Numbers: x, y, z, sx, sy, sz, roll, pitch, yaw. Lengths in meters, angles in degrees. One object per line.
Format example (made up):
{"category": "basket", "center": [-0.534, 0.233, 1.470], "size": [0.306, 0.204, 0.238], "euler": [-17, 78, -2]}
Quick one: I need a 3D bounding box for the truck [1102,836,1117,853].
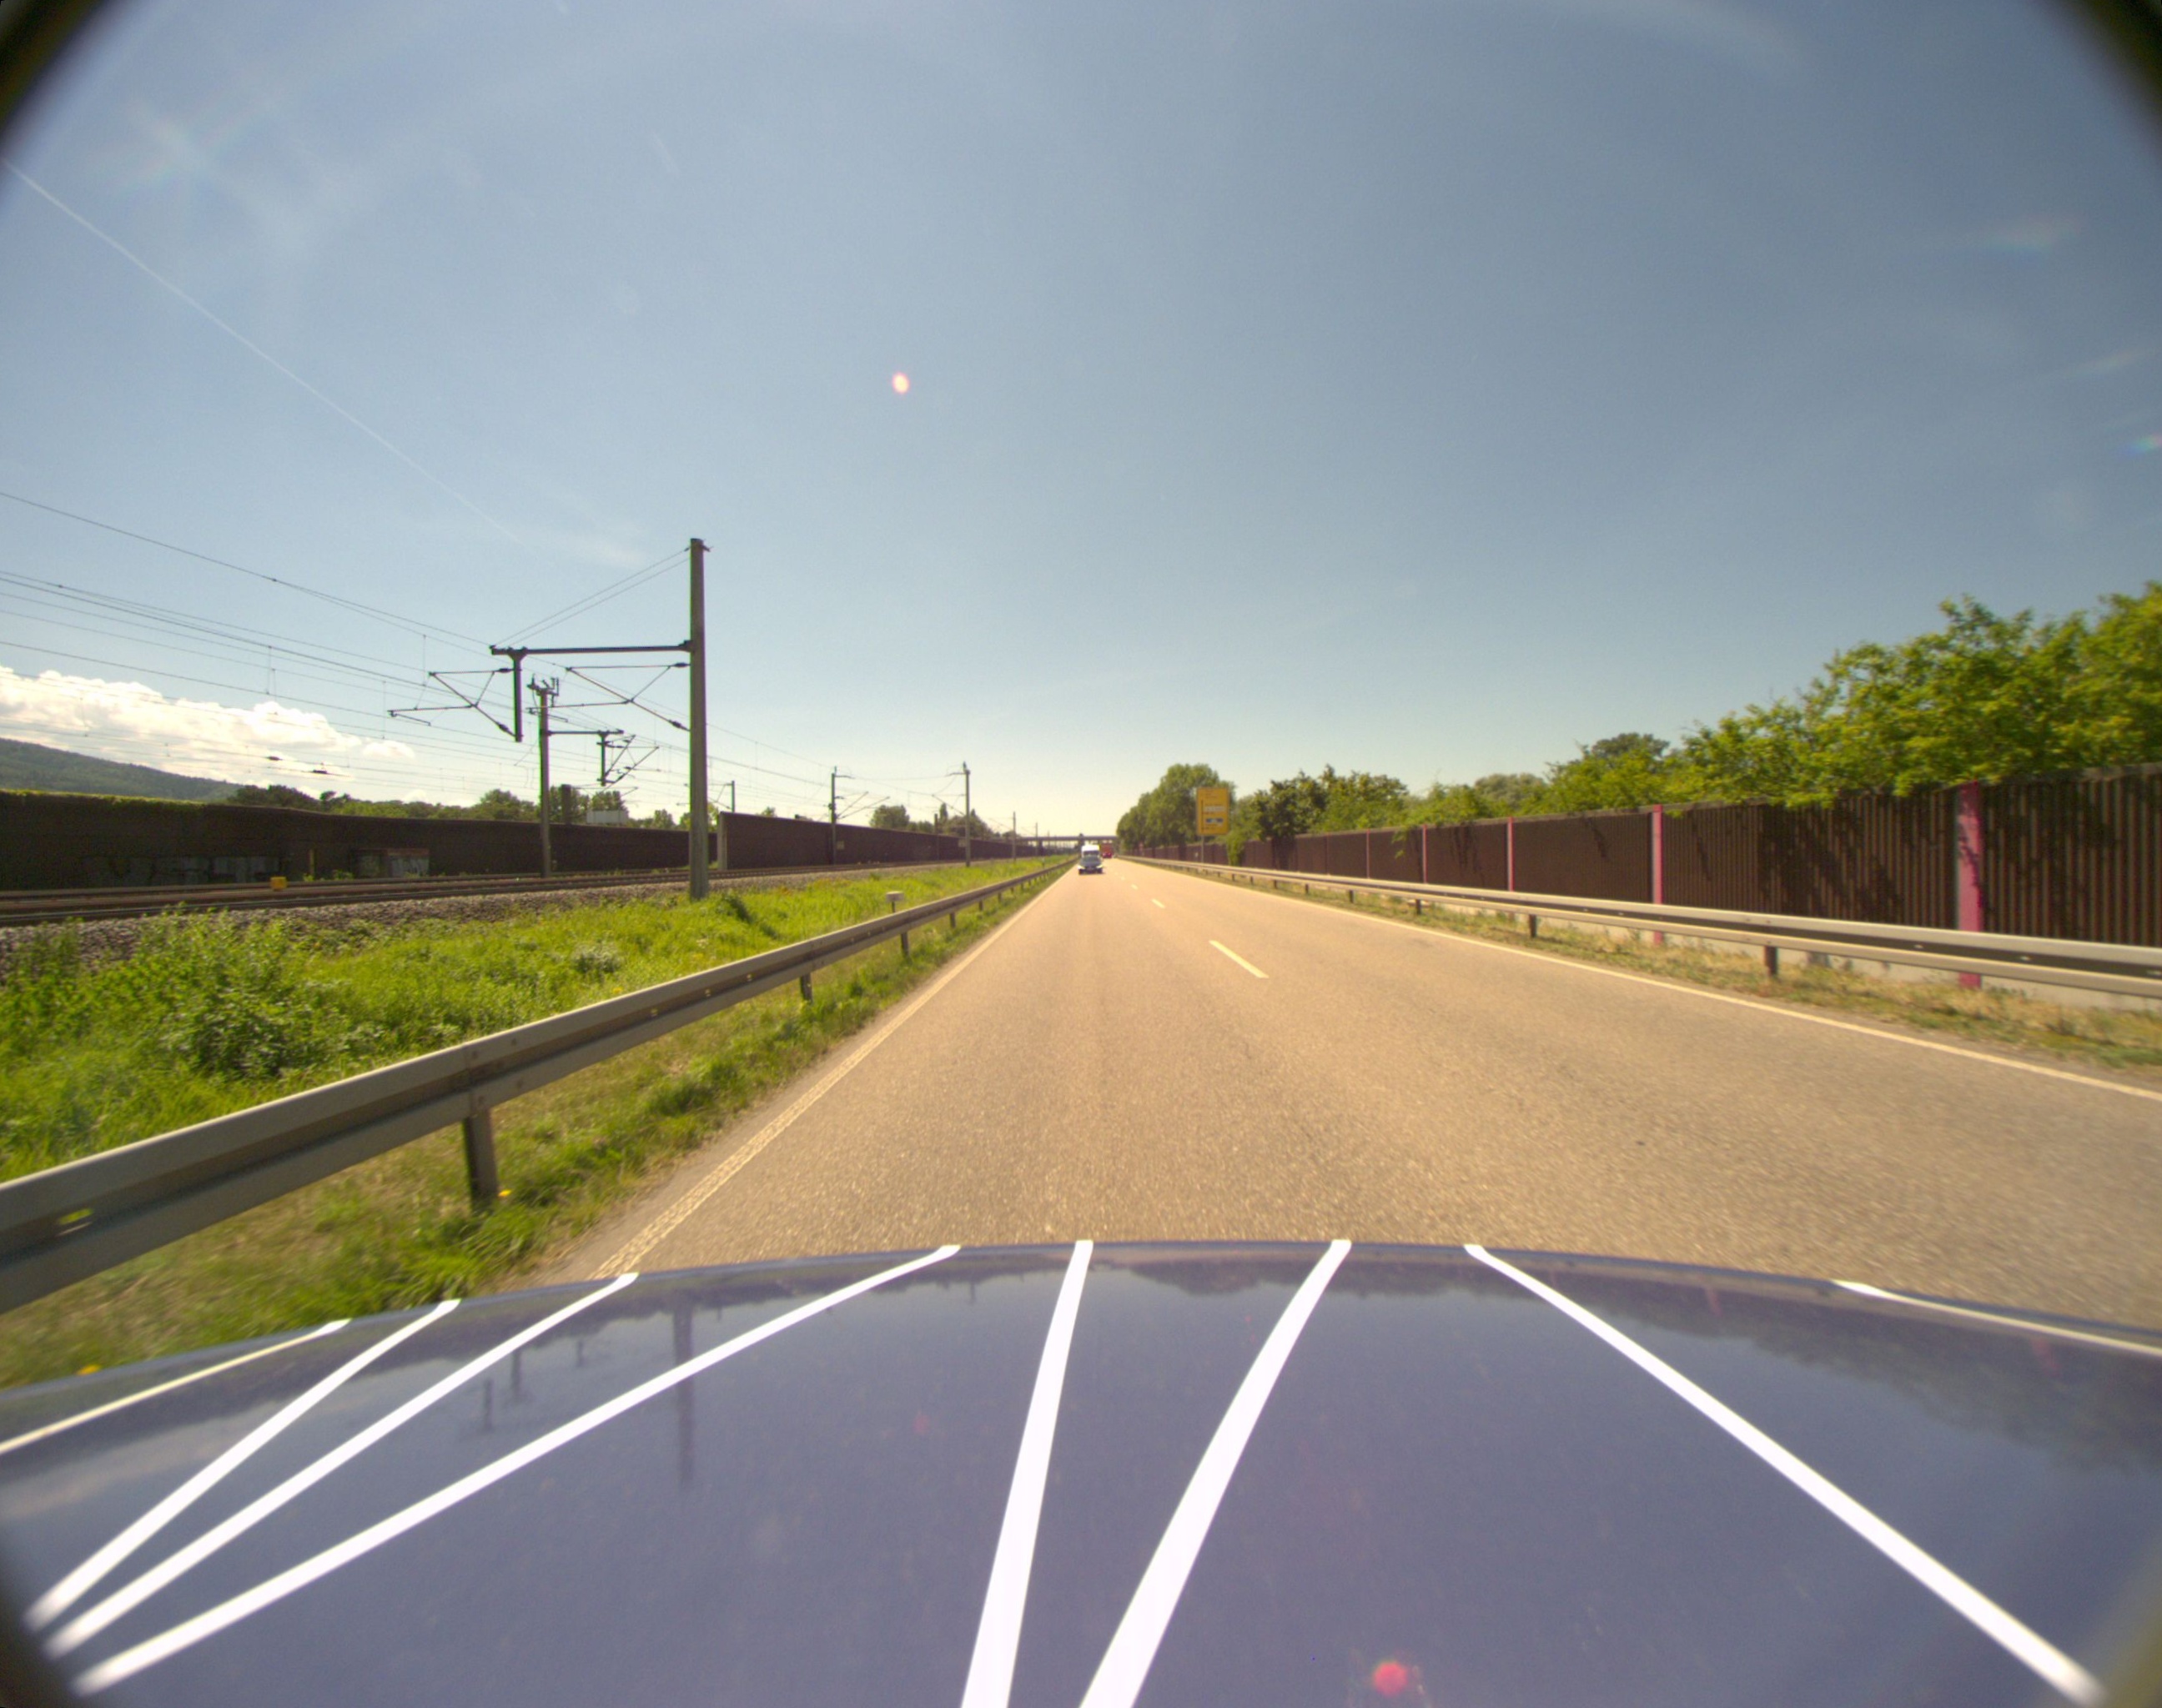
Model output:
{"category": "truck", "center": [6.968, -2.220, 187.825], "size": [3.132, 3.942, 9.718], "euler": [-3, 0, 1]}

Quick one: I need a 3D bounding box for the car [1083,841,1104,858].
{"category": "car", "center": [1.319, -0.472, 81.893], "size": [2.161, 1.702, 4.492], "euler": [-3, 0, 1]}

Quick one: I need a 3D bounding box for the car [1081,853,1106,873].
{"category": "car", "center": [0.963, 0.630, 57.339], "size": [1.758, 1.313, 4.000], "euler": [-3, 0, 1]}

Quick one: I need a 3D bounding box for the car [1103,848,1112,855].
{"category": "car", "center": [6.176, -0.534, 176.012], "size": [1.994, 1.486, 4.492], "euler": [-3, 0, 1]}
